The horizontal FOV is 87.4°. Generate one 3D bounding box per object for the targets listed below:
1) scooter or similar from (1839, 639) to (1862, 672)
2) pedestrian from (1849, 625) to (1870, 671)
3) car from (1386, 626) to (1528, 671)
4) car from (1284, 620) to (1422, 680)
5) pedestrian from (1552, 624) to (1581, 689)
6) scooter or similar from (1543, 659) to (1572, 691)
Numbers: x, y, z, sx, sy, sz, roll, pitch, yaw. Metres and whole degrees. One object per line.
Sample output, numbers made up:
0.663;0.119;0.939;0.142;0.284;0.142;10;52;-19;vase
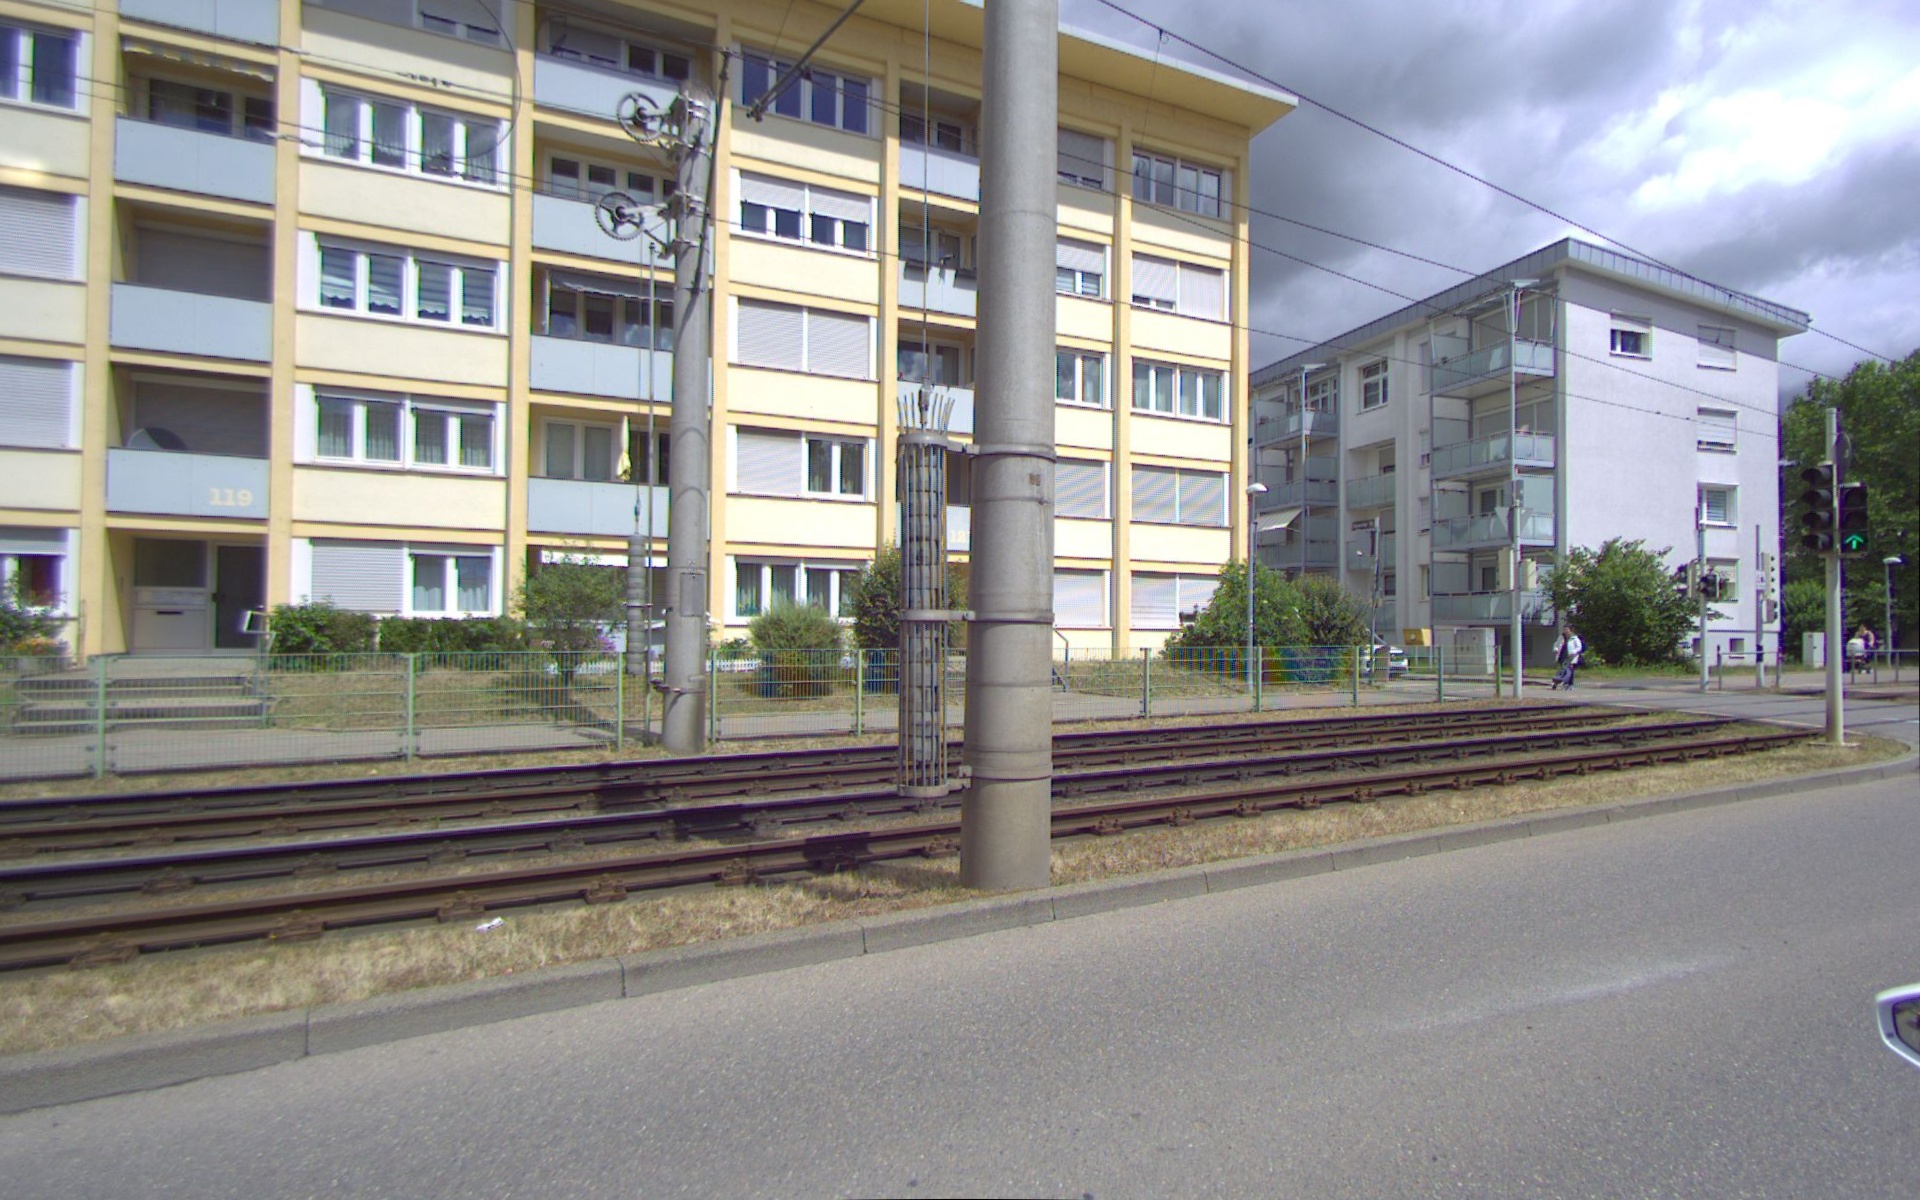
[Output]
30.281;1.883;34.142;0.679;1.072;0.336;1;1;-27;scooter or similar
30.839;1.649;34.437;0.550;1.557;0.347;1;-1;-27;pedestrian
16.280;1.549;33.121;1.873;1.363;3.980;1;-1;-22;car
12.562;1.564;32.391;1.970;1.673;3.981;1;0;-20;car
15.199;1.416;25.189;0.468;1.601;0.436;1;-1;-25;pedestrian
14.801;1.847;24.876;0.468;0.757;0.436;1;-1;-25;scooter or similar
